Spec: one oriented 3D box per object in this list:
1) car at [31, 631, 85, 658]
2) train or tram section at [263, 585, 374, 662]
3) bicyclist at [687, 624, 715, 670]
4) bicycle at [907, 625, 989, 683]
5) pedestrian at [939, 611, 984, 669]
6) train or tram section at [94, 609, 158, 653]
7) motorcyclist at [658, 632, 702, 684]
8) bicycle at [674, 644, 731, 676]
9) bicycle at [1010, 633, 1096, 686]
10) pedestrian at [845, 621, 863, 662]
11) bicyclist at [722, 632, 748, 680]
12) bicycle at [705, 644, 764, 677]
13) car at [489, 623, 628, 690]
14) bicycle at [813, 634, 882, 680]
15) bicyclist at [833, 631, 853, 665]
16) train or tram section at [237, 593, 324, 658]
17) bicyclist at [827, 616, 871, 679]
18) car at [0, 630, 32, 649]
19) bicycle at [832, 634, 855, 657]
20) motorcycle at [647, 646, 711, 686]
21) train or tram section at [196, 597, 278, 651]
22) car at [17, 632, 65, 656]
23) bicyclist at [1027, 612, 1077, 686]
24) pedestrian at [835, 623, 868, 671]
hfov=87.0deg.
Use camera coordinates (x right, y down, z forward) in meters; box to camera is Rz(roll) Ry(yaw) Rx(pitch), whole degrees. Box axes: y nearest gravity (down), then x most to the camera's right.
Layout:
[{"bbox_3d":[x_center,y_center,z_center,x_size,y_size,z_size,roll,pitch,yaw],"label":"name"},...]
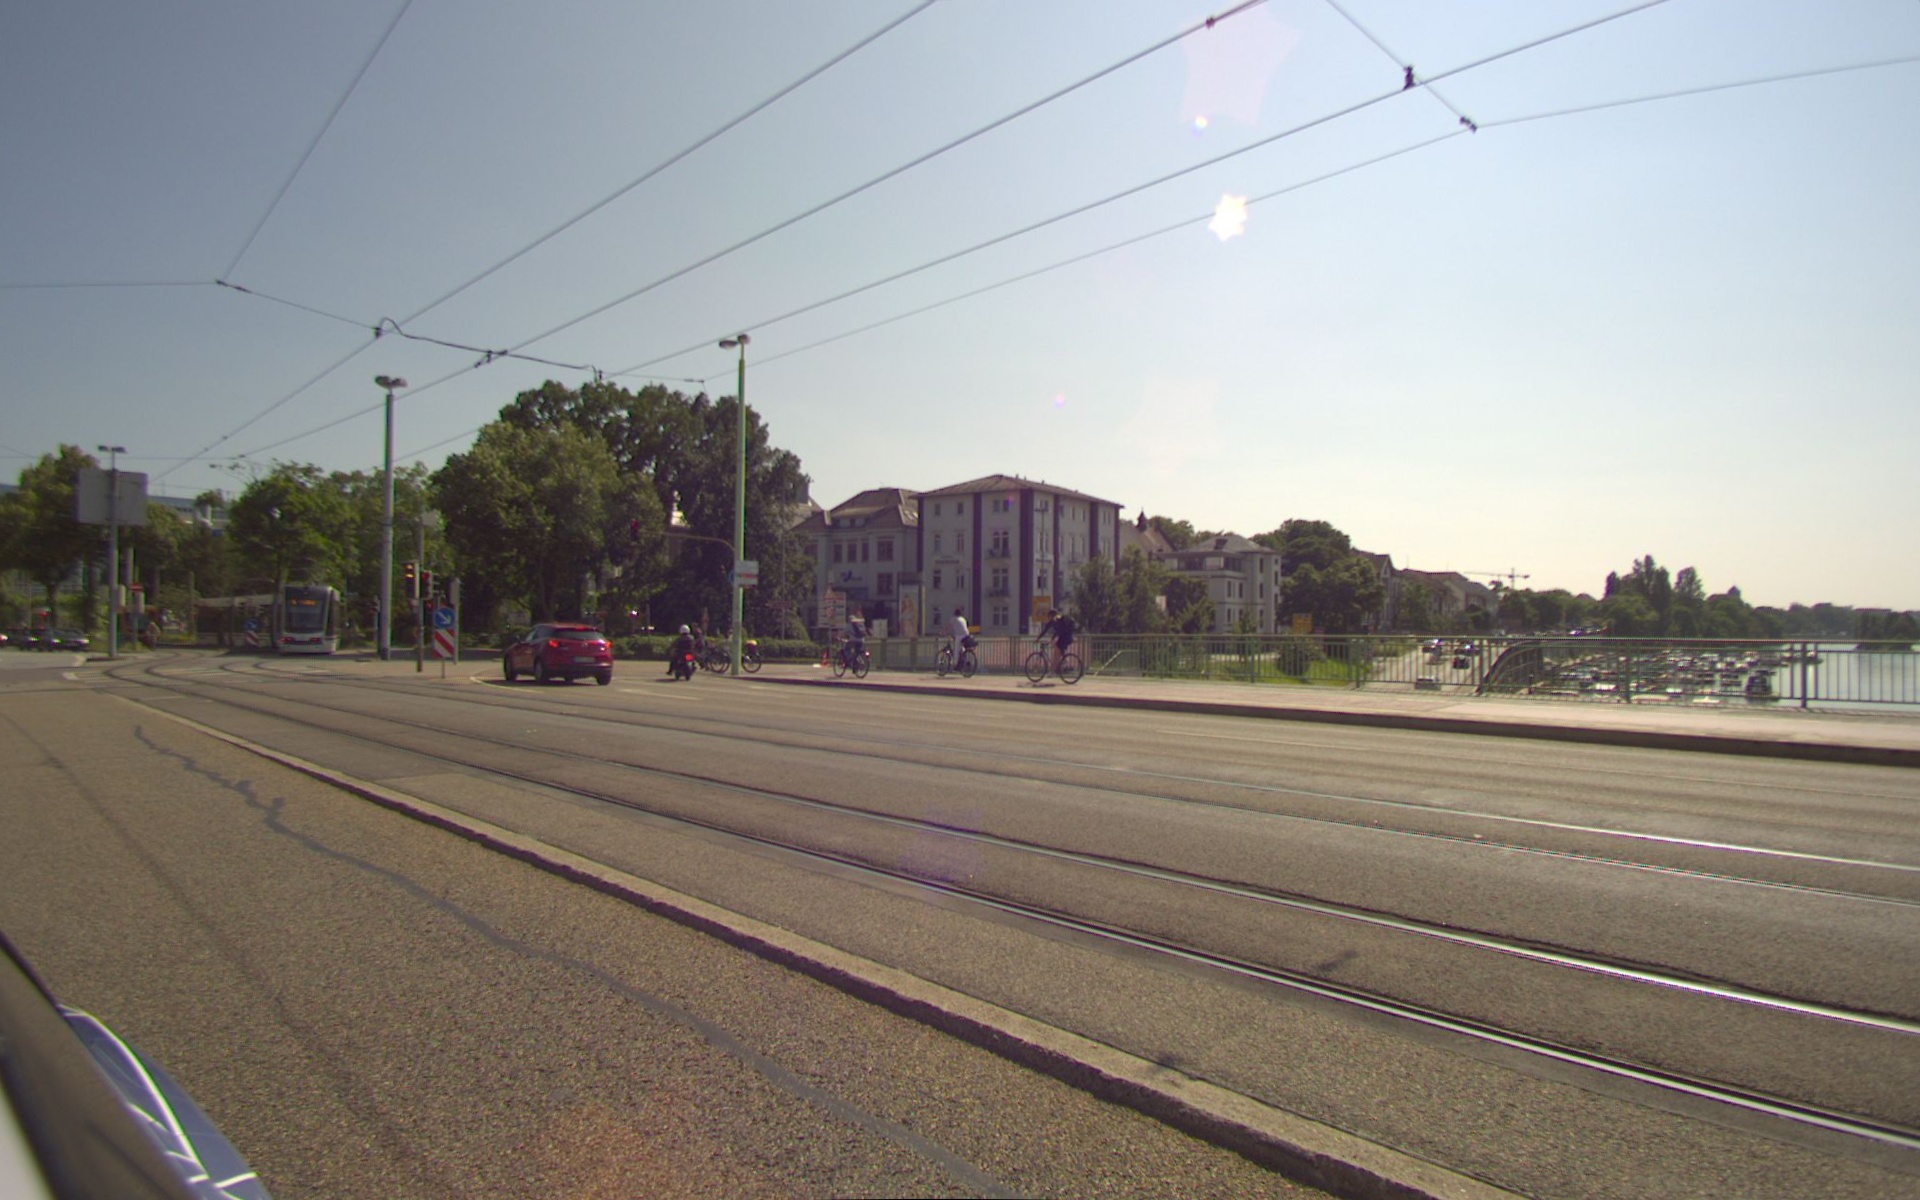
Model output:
[{"bbox_3d":[-52.349,2.549,58.700,4.745,1.497,1.729,-2,-4,42],"label":"car"},{"bbox_3d":[-35.278,1.395,56.177,2.435,3.806,11.886,1,-2,-19],"label":"train or tram section"},{"bbox_3d":[-9.208,1.666,36.005,0.866,1.621,0.773,0,-1,-8],"label":"bicyclist"},{"bbox_3d":[-0.339,1.367,26.215,2.162,1.410,0.697,-2,2,42],"label":"bicycle"},{"bbox_3d":[0.039,1.009,25.938,0.899,1.466,0.735,-1,-2,44],"label":"pedestrian"},{"bbox_3d":[-67.331,2.528,81.682,5.879,3.429,2.733,-1,-3,39],"label":"train or tram section"},{"bbox_3d":[-7.930,1.635,28.689,0.897,1.412,0.836,-1,-1,42],"label":"motorcyclist"},{"bbox_3d":[-9.150,2.133,35.993,1.890,1.122,0.762,0,-1,-8],"label":"bicycle"},{"bbox_3d":[2.095,1.317,22.946,1.921,1.122,0.750,-1,-2,44],"label":"bicycle"},{"bbox_3d":[-4.674,1.829,44.695,0.686,1.806,0.700,0,-2,1],"label":"pedestrian"},{"bbox_3d":[-7.847,1.949,35.252,0.760,1.621,0.881,0,-1,-5],"label":"bicyclist"},{"bbox_3d":[-7.837,2.103,35.251,1.891,1.122,0.762,0,-1,-4],"label":"bicycle"},{"bbox_3d":[-10.304,1.375,25.804,1.969,1.526,4.195,1,-1,-42],"label":"car"},{"bbox_3d":[-2.978,1.503,26.698,0.750,1.122,1.921,-1,-2,-44],"label":"bicycle"},{"bbox_3d":[-5.876,2.418,50.979,0.865,1.687,0.774,1,-1,-17],"label":"bicyclist"},{"bbox_3d":[-46.463,1.674,69.044,9.166,3.805,2.511,3,1,41],"label":"train or tram section"},{"bbox_3d":[-2.916,1.250,26.639,0.866,1.621,0.772,3,-5,-44],"label":"bicyclist"},{"bbox_3d":[-66.150,2.758,70.462,3.909,1.318,1.617,-1,-3,39],"label":"car"},{"bbox_3d":[-5.882,2.294,50.975,0.748,1.122,1.926,1,-1,-18],"label":"bicycle"},{"bbox_3d":[-7.994,1.867,28.741,1.951,1.032,0.835,-1,-1,43],"label":"motorcycle"},{"bbox_3d":[-53.996,1.818,75.491,9.160,3.806,2.512,-1,-5,40],"label":"train or tram section"},{"bbox_3d":[-56.716,2.692,62.414,3.999,1.422,1.773,-1,-3,42],"label":"car"},{"bbox_3d":[2.080,1.092,22.916,0.772,1.621,0.867,-1,-2,44],"label":"bicyclist"},{"bbox_3d":[-4.205,1.814,39.307,1.142,1.815,0.940,-1,-1,1],"label":"pedestrian"}]
